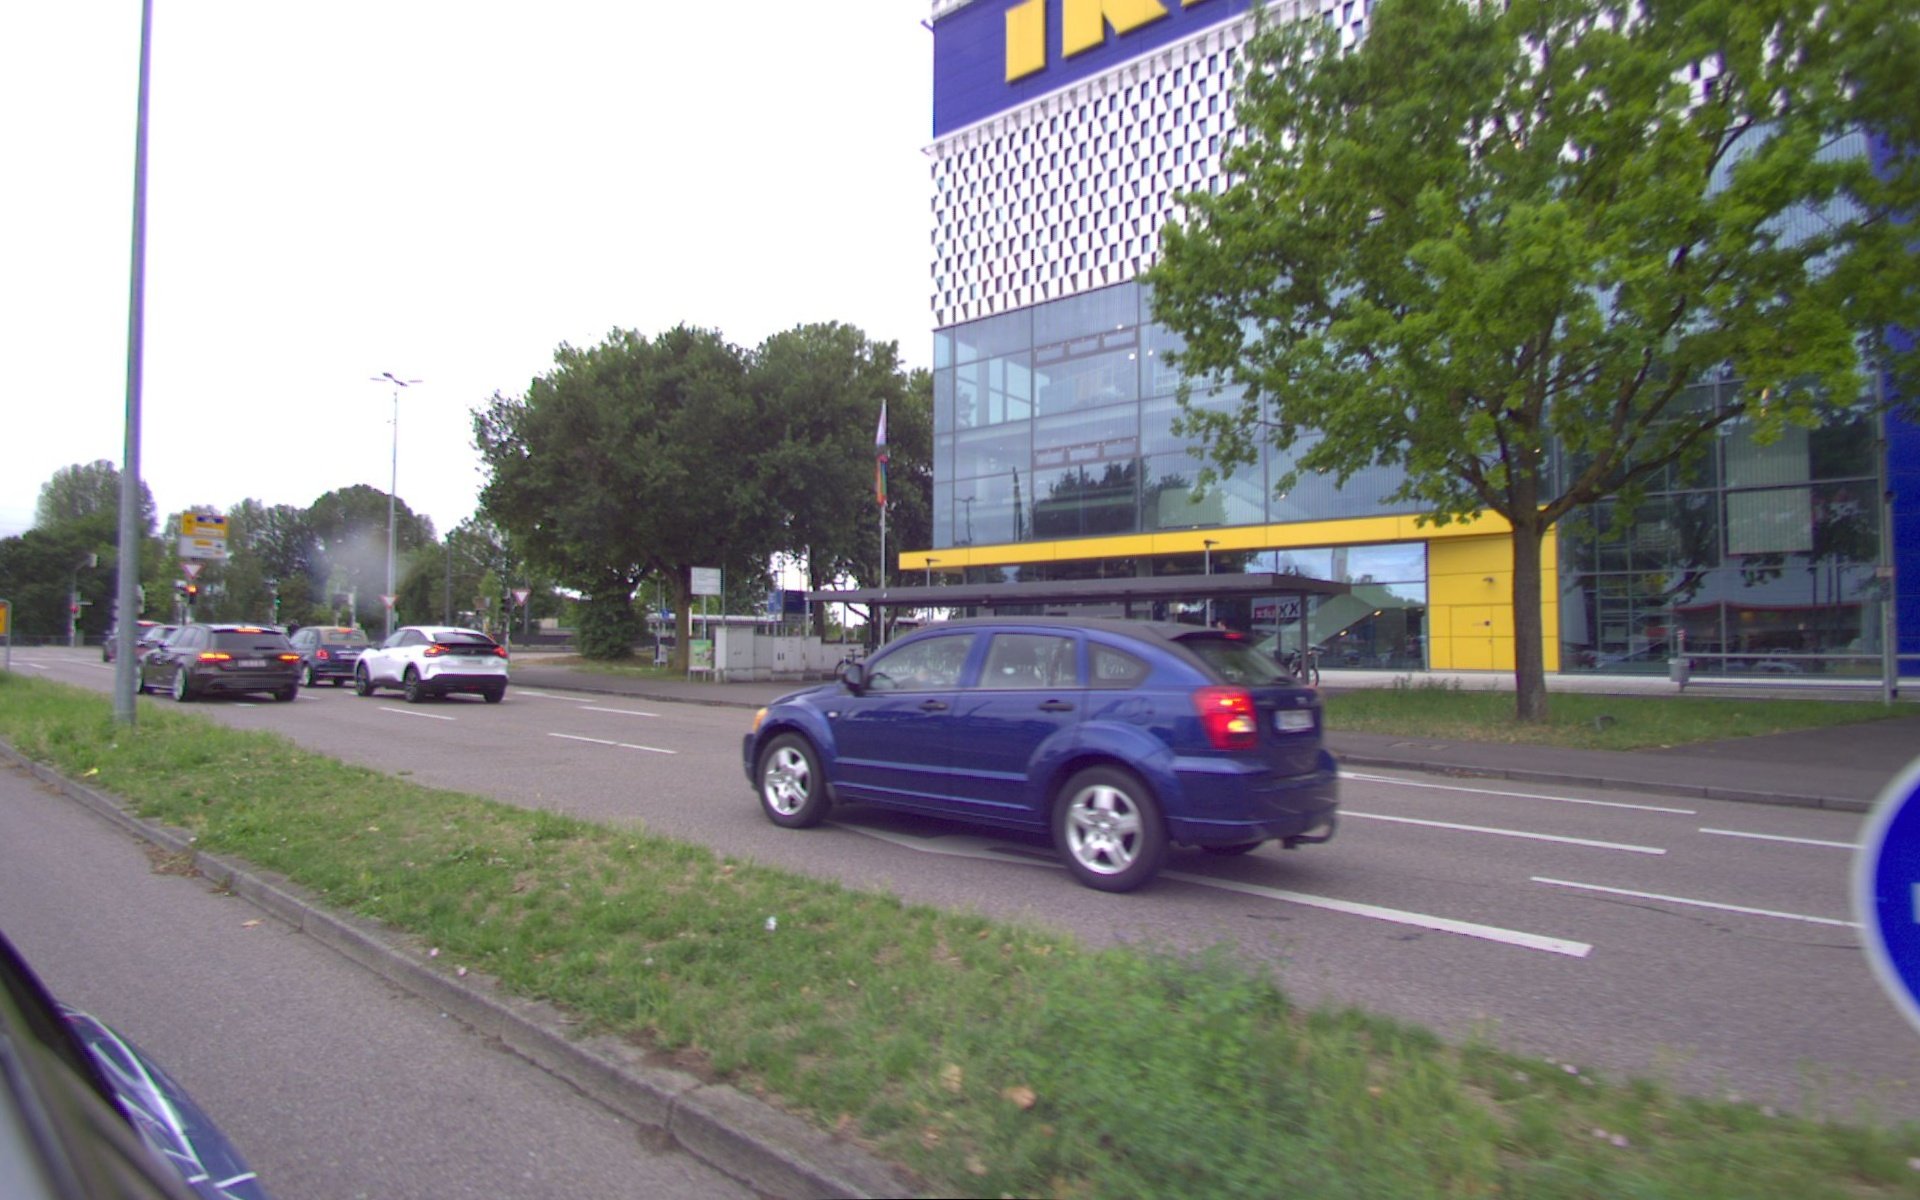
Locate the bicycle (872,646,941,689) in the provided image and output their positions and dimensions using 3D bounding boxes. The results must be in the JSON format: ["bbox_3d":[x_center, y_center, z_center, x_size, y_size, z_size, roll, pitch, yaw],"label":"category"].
[{"bbox_3d":[-1.574,1.972,29.920,1.988,1.165,0.595,0,-1,-34],"label":"bicycle"}]

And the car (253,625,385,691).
[{"bbox_3d":[-16.212,1.448,25.535,4.034,1.509,1.586,-1,-4,40],"label":"car"}]

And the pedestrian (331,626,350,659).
[{"bbox_3d":[-33.163,2.263,54.201,0.766,1.725,0.666,-1,-3,44],"label":"pedestrian"}]

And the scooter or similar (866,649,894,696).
[{"bbox_3d":[-2.094,1.872,26.456,0.417,1.157,1.353,0,-1,-18],"label":"scooter or similar"}]

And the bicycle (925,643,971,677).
[{"bbox_3d":[-0.430,2.184,37.169,0.593,1.165,1.996,-2,-1,38],"label":"bicycle"}]

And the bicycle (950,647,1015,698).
[{"bbox_3d":[0.591,1.822,25.674,0.593,1.165,1.874,-2,-1,40],"label":"bicycle"}]

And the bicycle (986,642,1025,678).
[{"bbox_3d":[1.599,2.081,35.349,0.591,1.165,2.004,-1,-1,27],"label":"bicycle"}]

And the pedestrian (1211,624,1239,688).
[{"bbox_3d":[7.385,1.559,28.216,0.674,1.759,0.803,-1,-2,18],"label":"pedestrian"}]

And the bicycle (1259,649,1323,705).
[{"bbox_3d":[7.457,1.704,22.780,0.593,1.131,1.994,-2,-1,42],"label":"bicycle"}]

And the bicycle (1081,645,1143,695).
[{"bbox_3d":[3.886,1.768,25.818,0.593,1.165,1.995,-2,-1,40],"label":"bicycle"}]

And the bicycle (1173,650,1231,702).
[{"bbox_3d":[5.724,1.772,23.895,0.593,1.090,1.791,-2,-1,40],"label":"bicycle"}]

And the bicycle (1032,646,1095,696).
[{"bbox_3d":[2.679,1.802,26.108,0.593,1.165,1.995,-2,-1,40],"label":"bicycle"}]

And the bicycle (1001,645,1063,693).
[{"bbox_3d":[1.941,1.832,27.131,0.593,1.165,1.995,-2,-1,40],"label":"bicycle"}]

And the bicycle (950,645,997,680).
[{"bbox_3d":[0.500,2.233,36.359,0.593,1.165,1.996,-2,-1,38],"label":"bicycle"}]

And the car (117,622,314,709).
[{"bbox_3d":[-14.236,1.199,19.269,4.426,1.447,1.865,-1,-4,38],"label":"car"}]

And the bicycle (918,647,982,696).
[{"bbox_3d":[-0.250,1.847,26.350,0.593,1.165,1.874,-2,-1,40],"label":"bicycle"}]

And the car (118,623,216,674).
[{"bbox_3d":[-26.068,1.582,33.243,4.061,1.514,1.645,-1,-5,40],"label":"car"}]

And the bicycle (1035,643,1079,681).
[{"bbox_3d":[3.277,2.069,34.069,0.592,1.165,1.999,-1,-1,34],"label":"bicycle"}]

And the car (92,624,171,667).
[{"bbox_3d":[-30.235,1.654,36.913,3.206,1.514,1.587,-1,-4,39],"label":"car"}]

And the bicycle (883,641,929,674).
[{"bbox_3d":[-2.038,2.187,38.691,0.593,1.165,1.996,-2,-1,38],"label":"bicycle"}]

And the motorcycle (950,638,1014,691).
[{"bbox_3d":[0.653,1.777,28.530,0.796,1.366,2.476,-1,-1,28],"label":"motorcycle"}]

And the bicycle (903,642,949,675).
[{"bbox_3d":[-1.264,2.172,37.895,0.593,1.165,1.996,-2,-1,38],"label":"bicycle"}]

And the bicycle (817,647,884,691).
[{"bbox_3d":[-3.061,1.926,28.460,0.593,1.166,1.995,-2,-3,40],"label":"bicycle"}]

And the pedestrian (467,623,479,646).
[{"bbox_3d":[-37.743,2.705,78.492,0.788,1.755,0.578,-4,-5,42],"label":"pedestrian"}]

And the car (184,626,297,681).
[{"bbox_3d":[-20.971,1.542,29.441,4.140,1.455,1.586,-1,-4,40],"label":"car"}]

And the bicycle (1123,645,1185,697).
[{"bbox_3d":[4.822,1.733,25.042,0.593,1.165,1.995,-2,-1,40],"label":"bicycle"}]

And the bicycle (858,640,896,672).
[{"bbox_3d":[-3.218,2.169,39.448,0.590,1.165,2.006,-1,-1,24],"label":"bicycle"}]

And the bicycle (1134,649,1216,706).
[{"bbox_3d":[4.826,1.712,22.659,1.989,1.165,0.595,0,-1,-35],"label":"bicycle"}]

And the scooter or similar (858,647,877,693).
[{"bbox_3d":[-2.560,1.906,27.860,0.353,1.194,1.296,0,-1,-12],"label":"scooter or similar"}]

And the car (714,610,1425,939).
[{"bbox_3d":[0.507,0.901,6.805,4.435,1.497,1.911,-2,-5,40],"label":"car"}]

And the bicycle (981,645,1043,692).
[{"bbox_3d":[1.446,1.850,27.643,0.593,1.165,1.995,-2,-1,40],"label":"bicycle"}]

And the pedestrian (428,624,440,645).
[{"bbox_3d":[-39.539,2.590,76.073,0.711,1.572,0.624,-4,-5,42],"label":"pedestrian"}]

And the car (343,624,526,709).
[{"bbox_3d":[-11.018,1.343,21.105,4.180,1.530,1.911,0,-4,41],"label":"car"}]

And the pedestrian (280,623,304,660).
[{"bbox_3d":[-32.972,2.058,49.962,0.686,1.778,0.656,3,-3,37],"label":"pedestrian"}]
